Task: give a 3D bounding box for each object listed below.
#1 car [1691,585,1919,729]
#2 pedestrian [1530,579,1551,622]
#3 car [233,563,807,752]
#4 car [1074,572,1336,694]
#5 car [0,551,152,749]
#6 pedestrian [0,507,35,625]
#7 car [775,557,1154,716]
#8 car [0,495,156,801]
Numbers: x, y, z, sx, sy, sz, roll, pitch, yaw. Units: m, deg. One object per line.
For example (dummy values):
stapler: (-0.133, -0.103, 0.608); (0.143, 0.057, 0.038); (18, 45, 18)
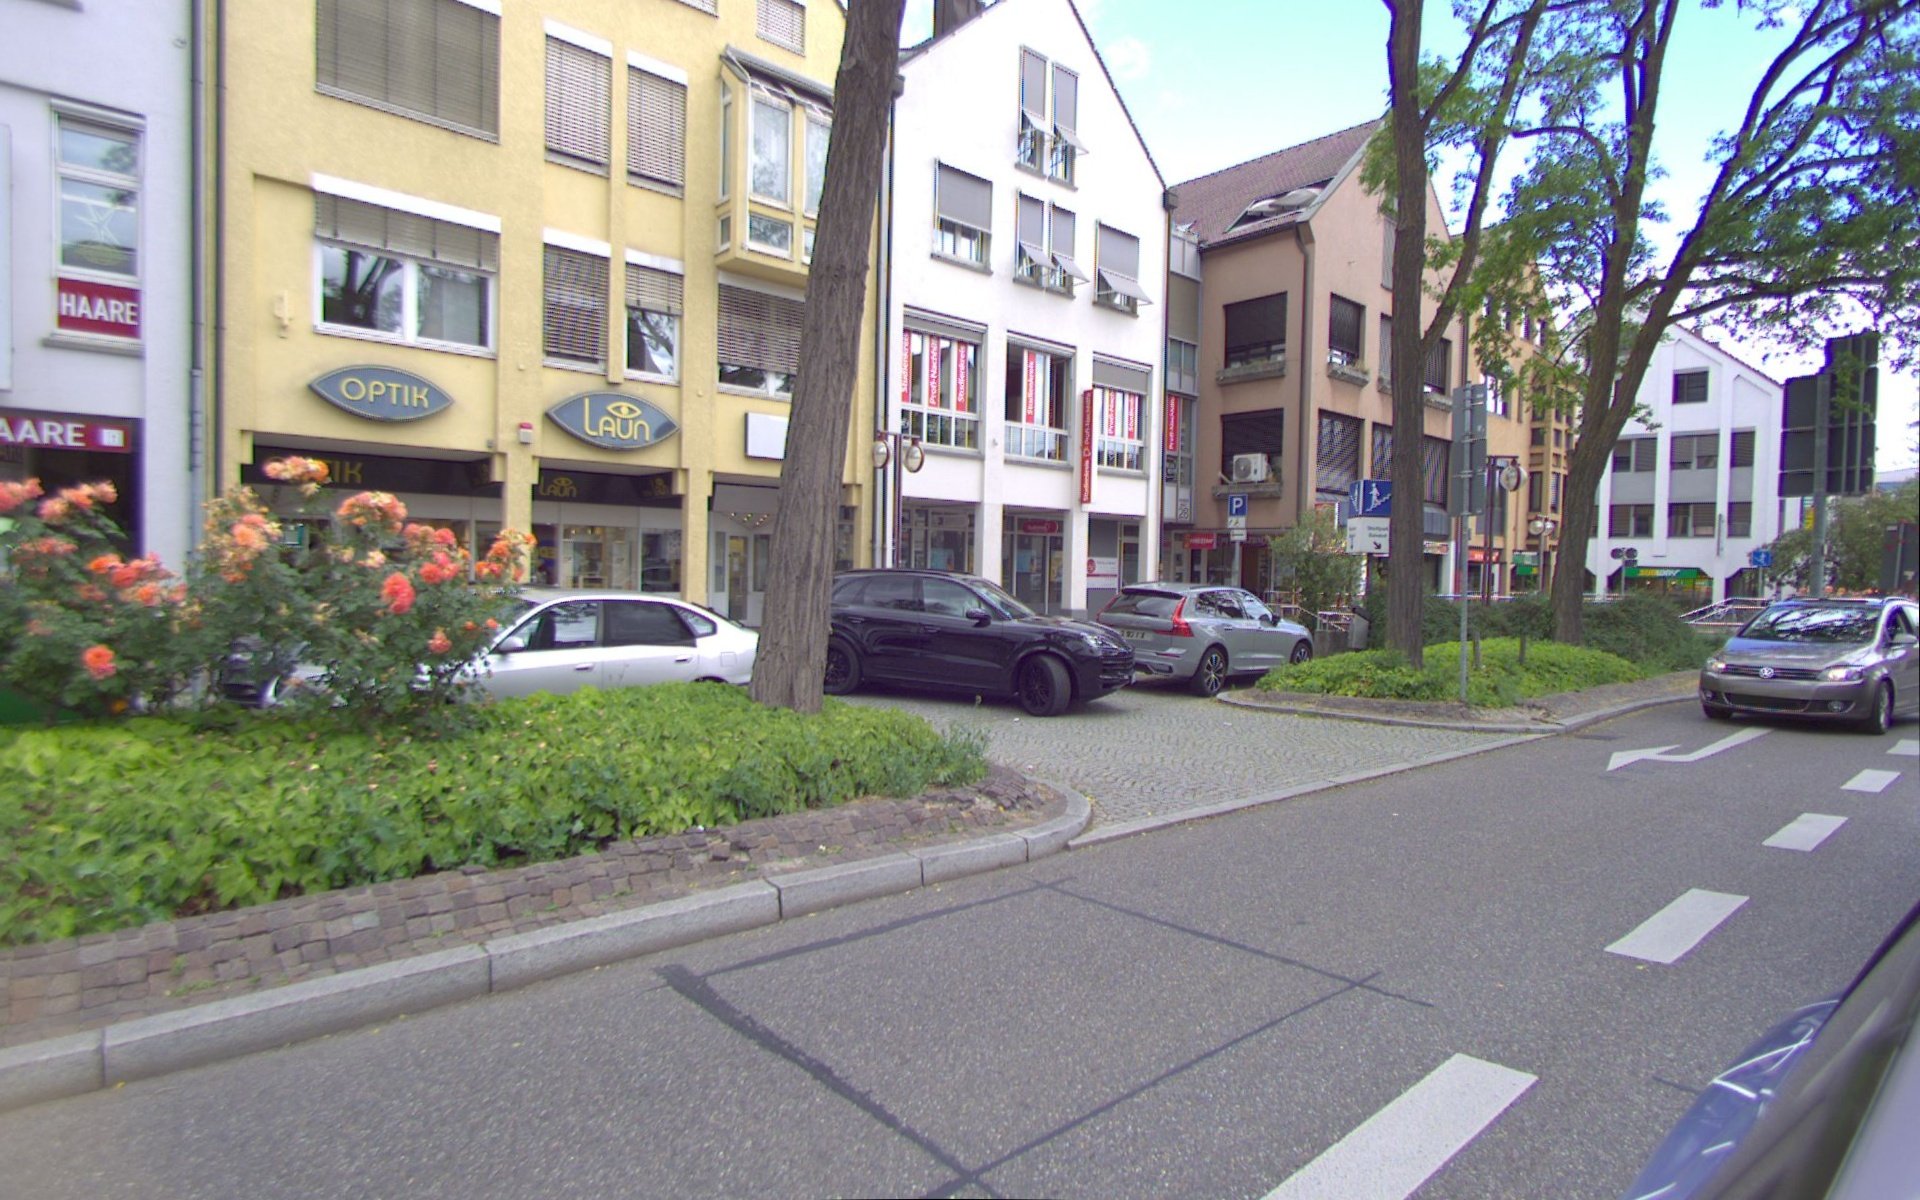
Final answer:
car: (11.020, 0.615, 12.739); (3.924, 1.549, 1.802); (0, 0, -36)
pedestrian: (22.785, 0.022, 39.704); (0.495, 1.645, 0.494); (1, 1, 4)
car: (-3.924, 0.370, 9.613); (4.674, 1.325, 1.841); (-1, 3, -43)
car: (4.168, 0.427, 16.730); (4.675, 1.674, 1.996); (-1, 3, -44)
car: (-9.402, 0.386, 7.913); (4.675, 1.566, 1.996); (-1, 3, -44)
pedestrian: (-13.342, -0.472, 14.156); (0.422, 1.631, 0.548); (2, 1, 41)
car: (0.102, 0.383, 13.639); (4.691, 1.700, 1.989); (3, 2, 18)
car: (-7.760, 0.264, 5.912); (4.674, 1.899, 1.996); (-1, 3, -43)
